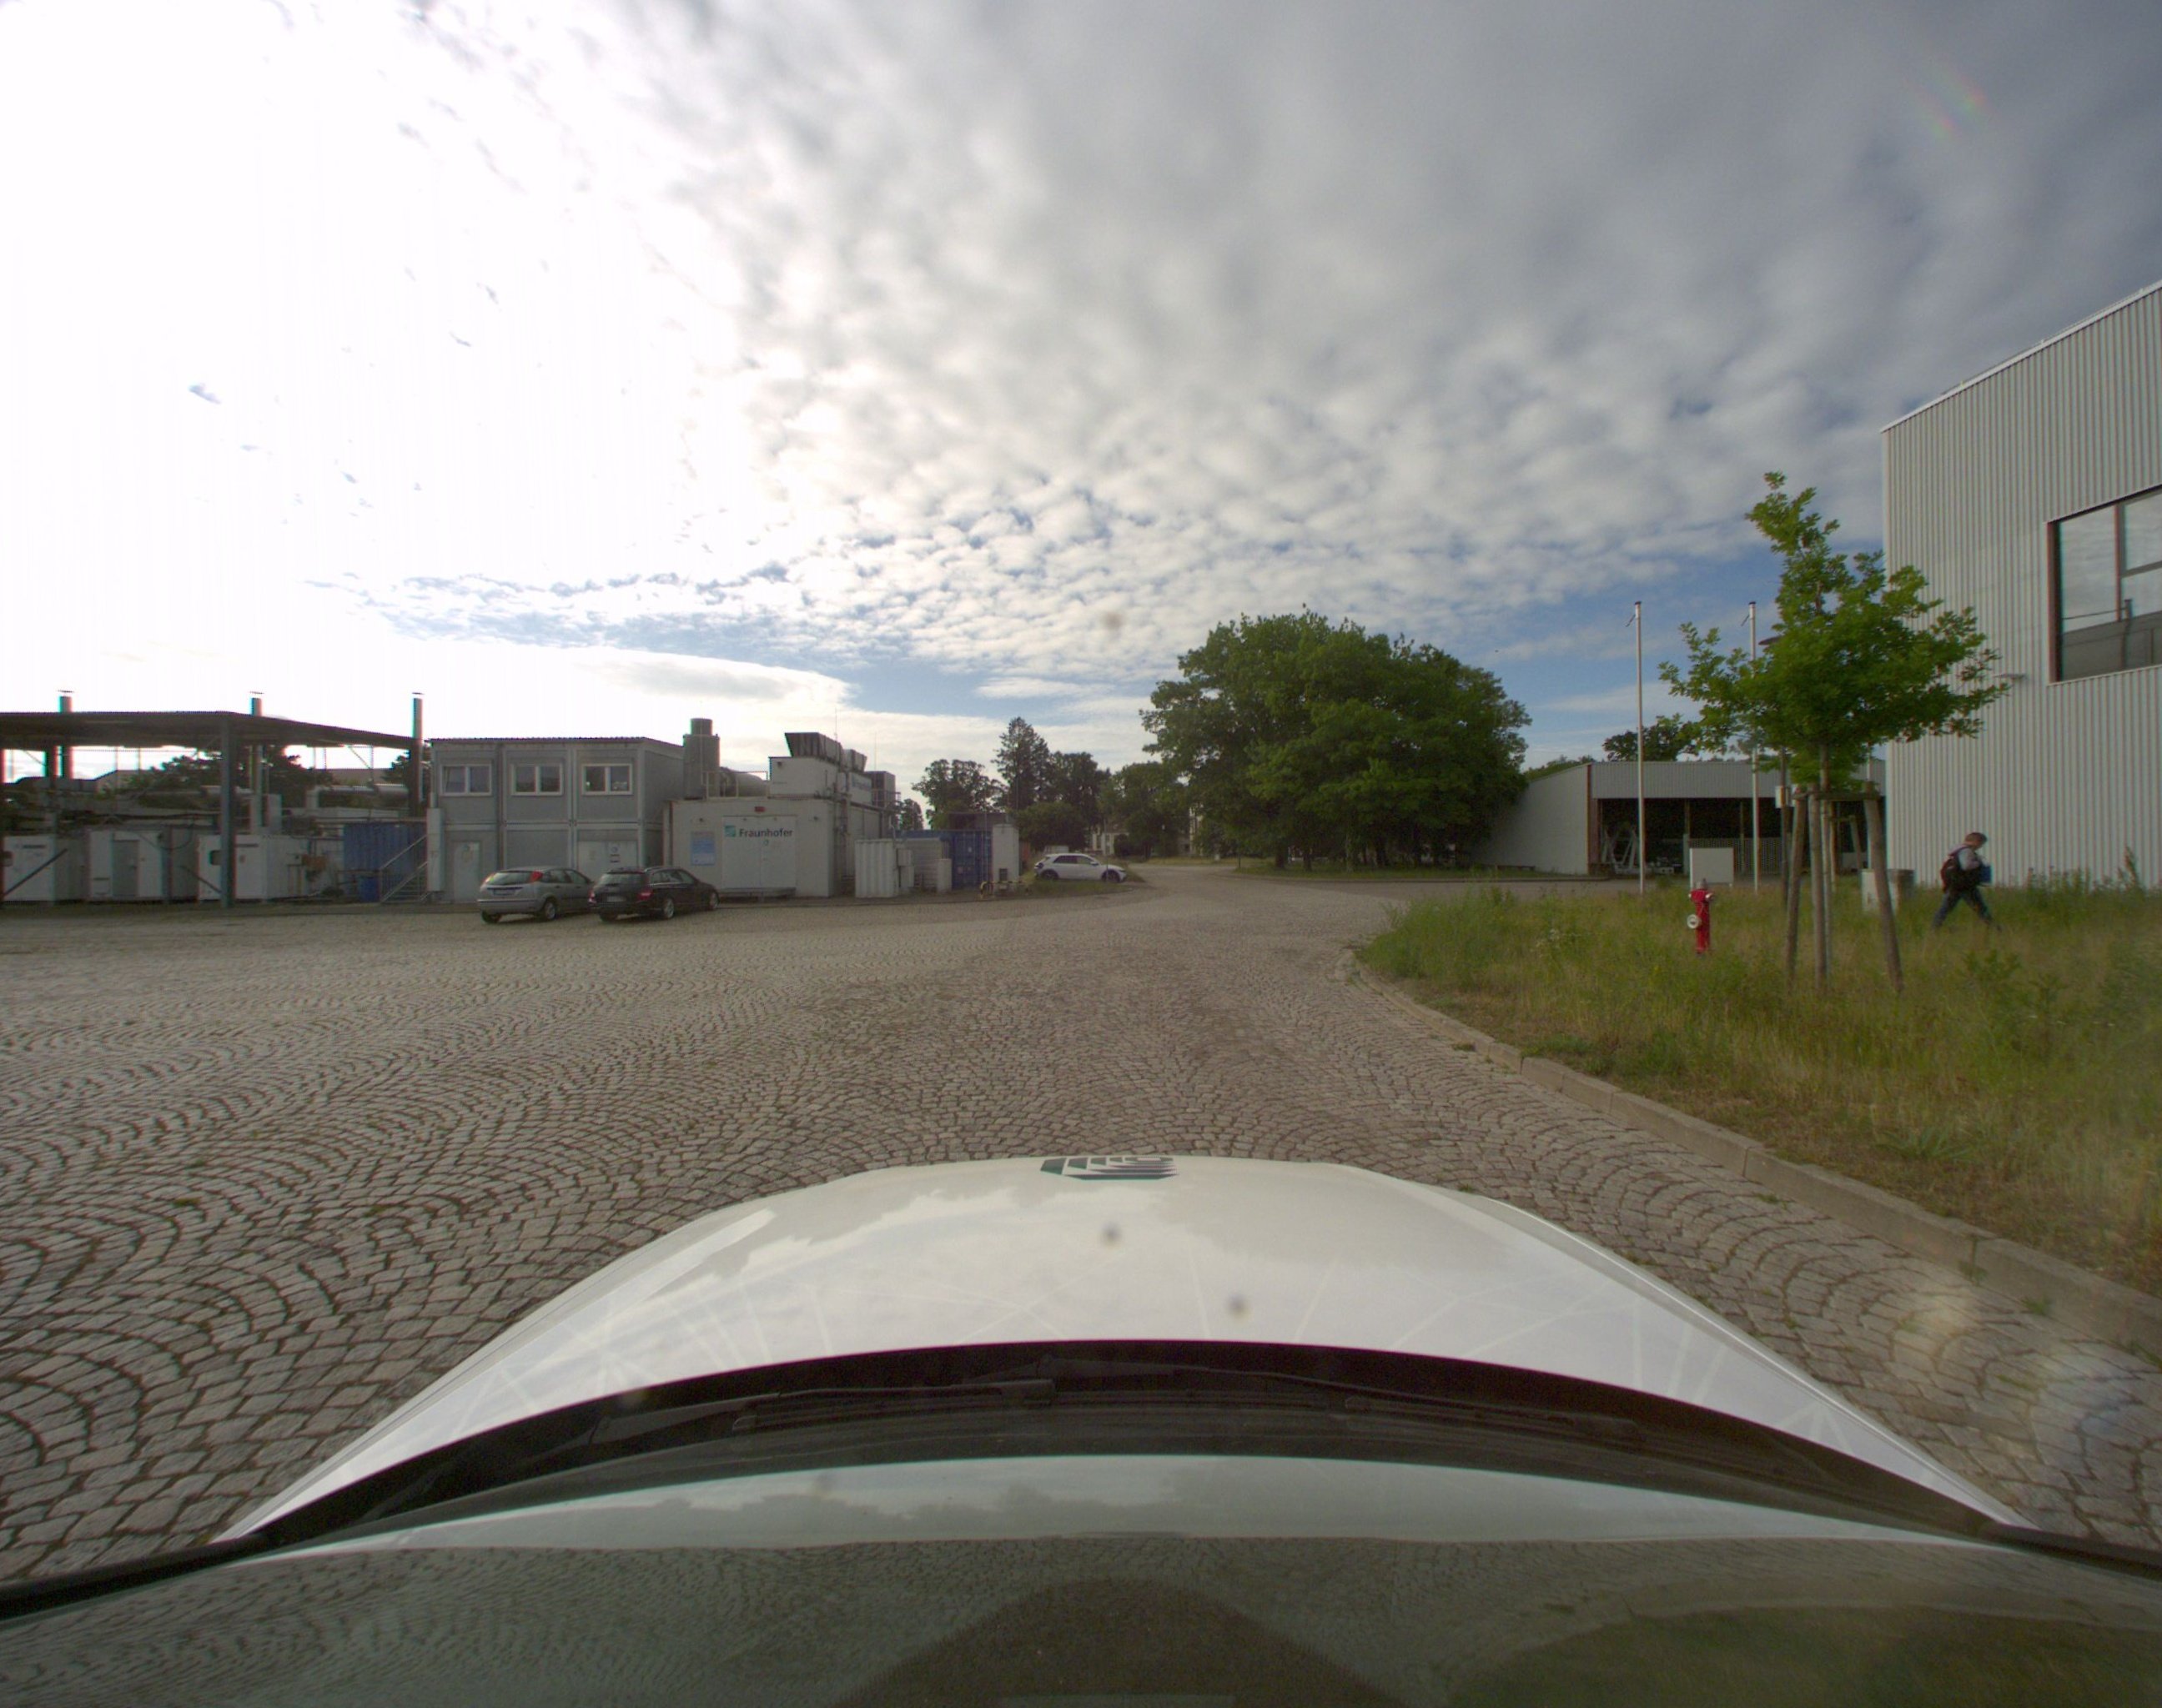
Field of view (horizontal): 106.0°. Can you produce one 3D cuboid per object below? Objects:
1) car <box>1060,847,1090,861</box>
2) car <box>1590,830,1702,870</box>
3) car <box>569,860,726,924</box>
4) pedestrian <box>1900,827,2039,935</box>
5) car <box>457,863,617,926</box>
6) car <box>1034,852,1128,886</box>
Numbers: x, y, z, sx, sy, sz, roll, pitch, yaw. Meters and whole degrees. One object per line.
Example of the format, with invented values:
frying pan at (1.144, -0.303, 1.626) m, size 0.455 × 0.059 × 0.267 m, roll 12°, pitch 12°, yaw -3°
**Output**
car at (-1.089, -0.071, 142.009) m, size 5.156 × 2.337 × 1.999 m, roll -1°, pitch 0°, yaw -2°
car at (30.346, -0.208, 43.996) m, size 2.235 × 2.013 × 5.332 m, roll -1°, pitch 0°, yaw -2°
car at (-12.079, 0.996, 23.111) m, size 2.030 × 1.453 × 4.528 m, roll -1°, pitch 2°, yaw -1°
pedestrian at (13.497, 0.390, 12.425) m, size 1.066 × 1.556 × 1.081 m, roll -1°, pitch 0°, yaw 23°
car at (-15.300, 1.063, 23.209) m, size 1.902 × 1.475 × 4.043 m, roll -1°, pitch 1°, yaw -3°
car at (0.015, 0.722, 40.457) m, size 4.517 × 1.599 × 2.001 m, roll -1°, pitch 0°, yaw 1°
